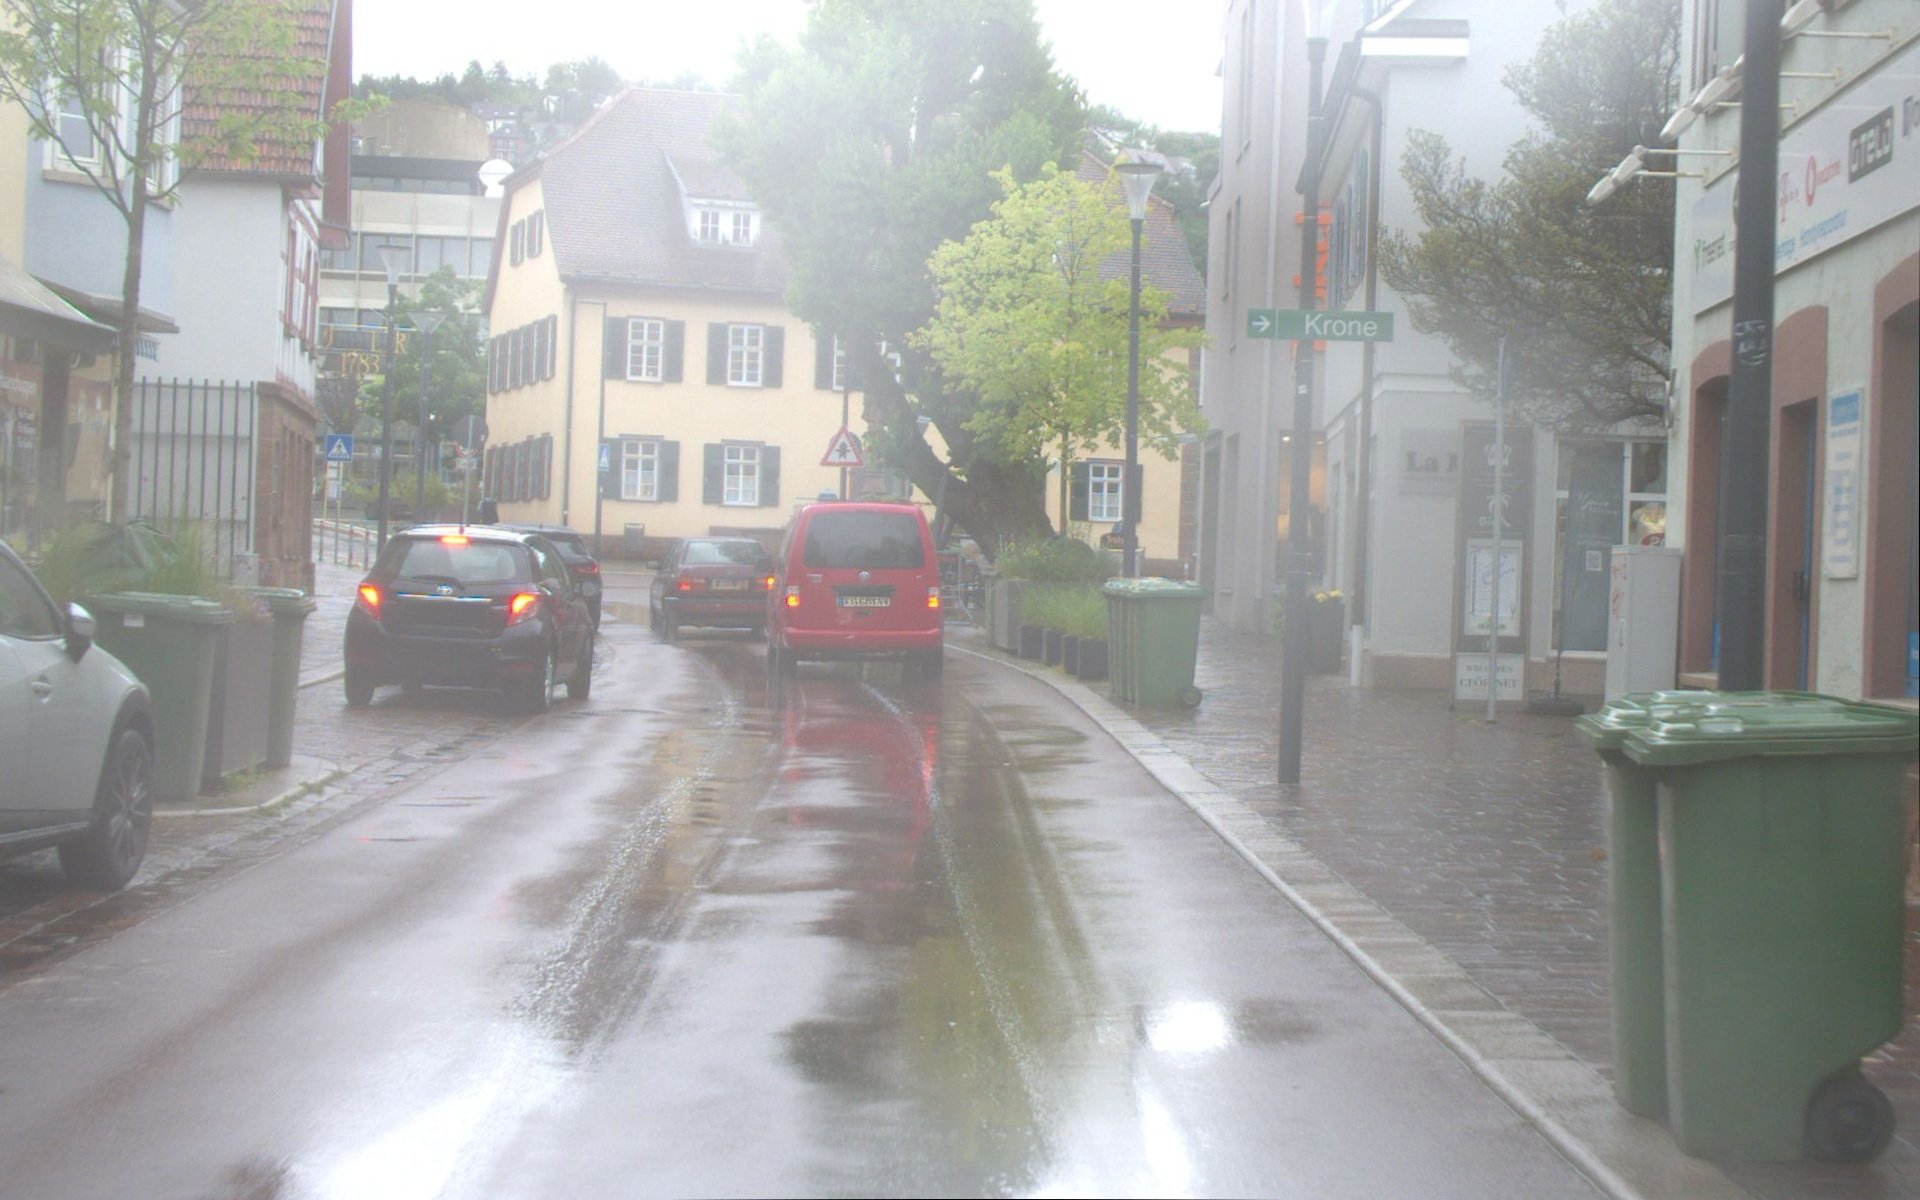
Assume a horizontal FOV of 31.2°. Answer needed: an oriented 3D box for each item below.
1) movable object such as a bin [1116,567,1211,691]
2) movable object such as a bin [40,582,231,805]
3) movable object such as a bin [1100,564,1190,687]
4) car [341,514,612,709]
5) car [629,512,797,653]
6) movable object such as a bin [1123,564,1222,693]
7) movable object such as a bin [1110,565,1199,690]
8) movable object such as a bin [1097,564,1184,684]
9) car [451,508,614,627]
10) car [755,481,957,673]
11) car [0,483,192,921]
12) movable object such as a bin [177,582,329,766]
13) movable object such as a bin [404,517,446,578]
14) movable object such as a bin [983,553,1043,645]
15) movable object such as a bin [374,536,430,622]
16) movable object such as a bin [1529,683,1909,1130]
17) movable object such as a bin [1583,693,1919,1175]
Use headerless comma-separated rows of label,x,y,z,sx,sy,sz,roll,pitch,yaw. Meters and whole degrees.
movable object such as a bin,1.806,0.257,30.614,0.754,1.060,0.600,3,0,0
movable object such as a bin,-4.314,0.481,18.025,0.786,1.081,0.693,4,2,-1
movable object such as a bin,1.707,0.231,31.817,0.735,1.094,0.611,3,0,-1
car,-4.053,0.042,29.359,1.692,1.438,3.885,3,2,0
car,-3.509,-0.237,48.132,1.993,1.793,4.001,3,0,-8
movable object such as a bin,1.848,0.249,29.973,0.768,1.076,0.599,3,0,0
movable object such as a bin,1.763,0.248,31.208,0.729,1.087,0.521,3,0,0
movable object such as a bin,1.702,0.227,32.448,0.735,1.094,0.611,3,0,-1
car,-6.208,-0.497,49.574,1.787,1.490,4.002,3,1,-14
car,-1.170,-0.300,36.837,1.894,1.805,4.001,4,2,-4
car,-4.244,0.325,12.813,1.692,1.533,4.121,4,2,1
movable object such as a bin,-4.243,0.441,20.672,0.709,1.049,0.704,3,0,0
movable object such as a bin,-10.104,-0.990,64.940,0.714,1.102,0.600,3,0,-10
movable object such as a bin,0.676,-0.013,44.247,0.631,1.146,0.580,3,0,-8
movable object such as a bin,-7.440,-0.277,45.870,0.659,1.106,0.616,3,0,-8
movable object such as a bin,1.942,0.772,8.863,0.796,1.077,0.583,2,0,-3
movable object such as a bin,1.975,0.783,8.239,0.792,1.077,0.615,2,0,-3
